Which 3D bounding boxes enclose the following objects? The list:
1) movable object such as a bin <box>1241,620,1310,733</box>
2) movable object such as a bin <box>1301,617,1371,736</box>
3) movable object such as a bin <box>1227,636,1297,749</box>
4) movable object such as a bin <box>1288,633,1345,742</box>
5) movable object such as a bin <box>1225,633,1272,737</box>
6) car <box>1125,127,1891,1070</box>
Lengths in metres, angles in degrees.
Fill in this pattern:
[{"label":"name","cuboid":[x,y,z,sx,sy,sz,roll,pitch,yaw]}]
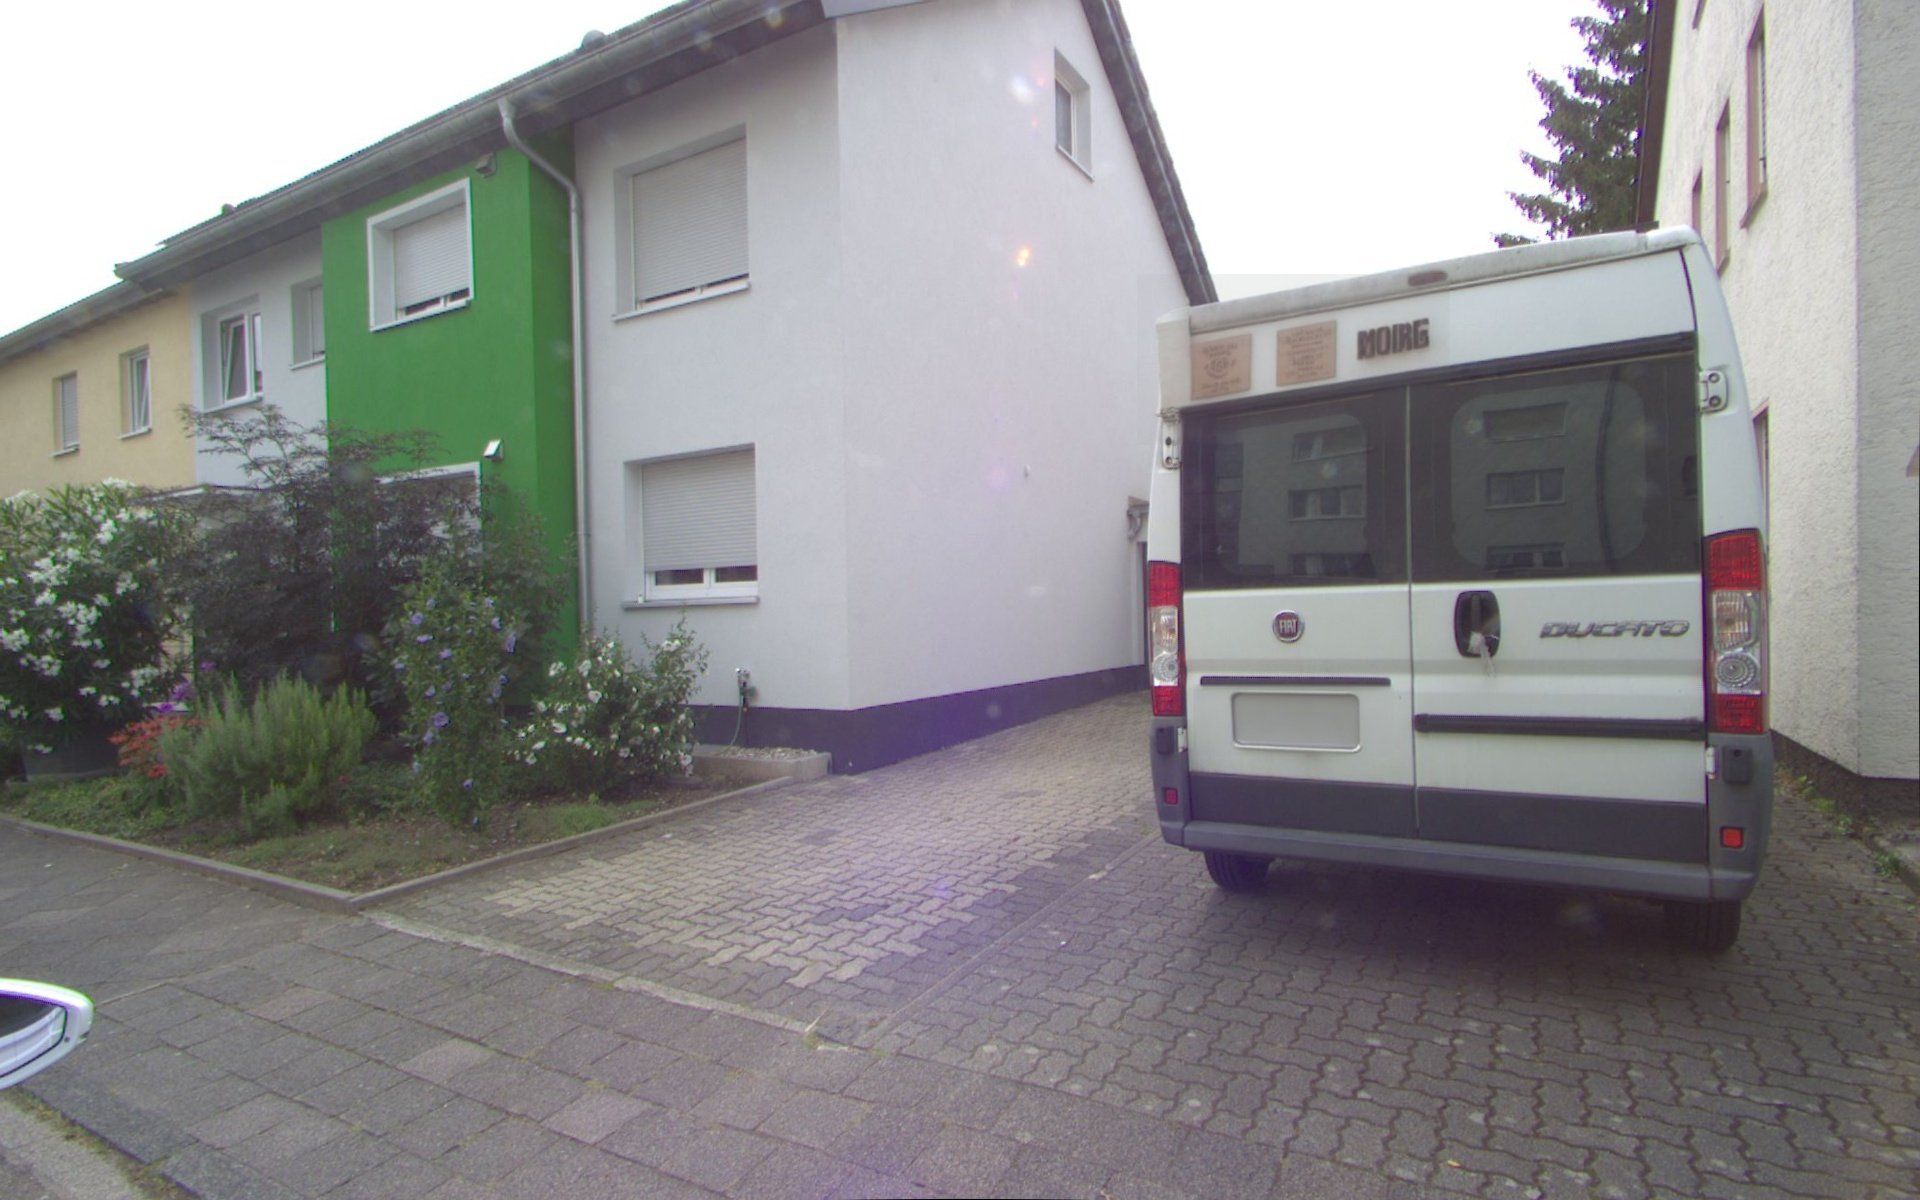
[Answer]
[{"label":"movable object such as a bin","cuboid":[3.093,0.738,9.812,0.538,1.046,0.454,-1,2,30]},{"label":"movable object such as a bin","cuboid":[3.580,0.712,9.530,0.538,1.071,0.454,-1,2,30]},{"label":"movable object such as a bin","cuboid":[2.684,0.805,8.886,0.475,0.938,0.518,-1,2,30]},{"label":"movable object such as a bin","cuboid":[3.259,0.784,9.143,0.396,0.938,0.448,-1,2,30]},{"label":"movable object such as a bin","cuboid":[2.738,0.797,9.498,0.333,0.938,0.354,-1,2,30]},{"label":"car","cuboid":[2.903,-0.024,5.496,2.205,2.576,5.077,-1,1,31]}]
